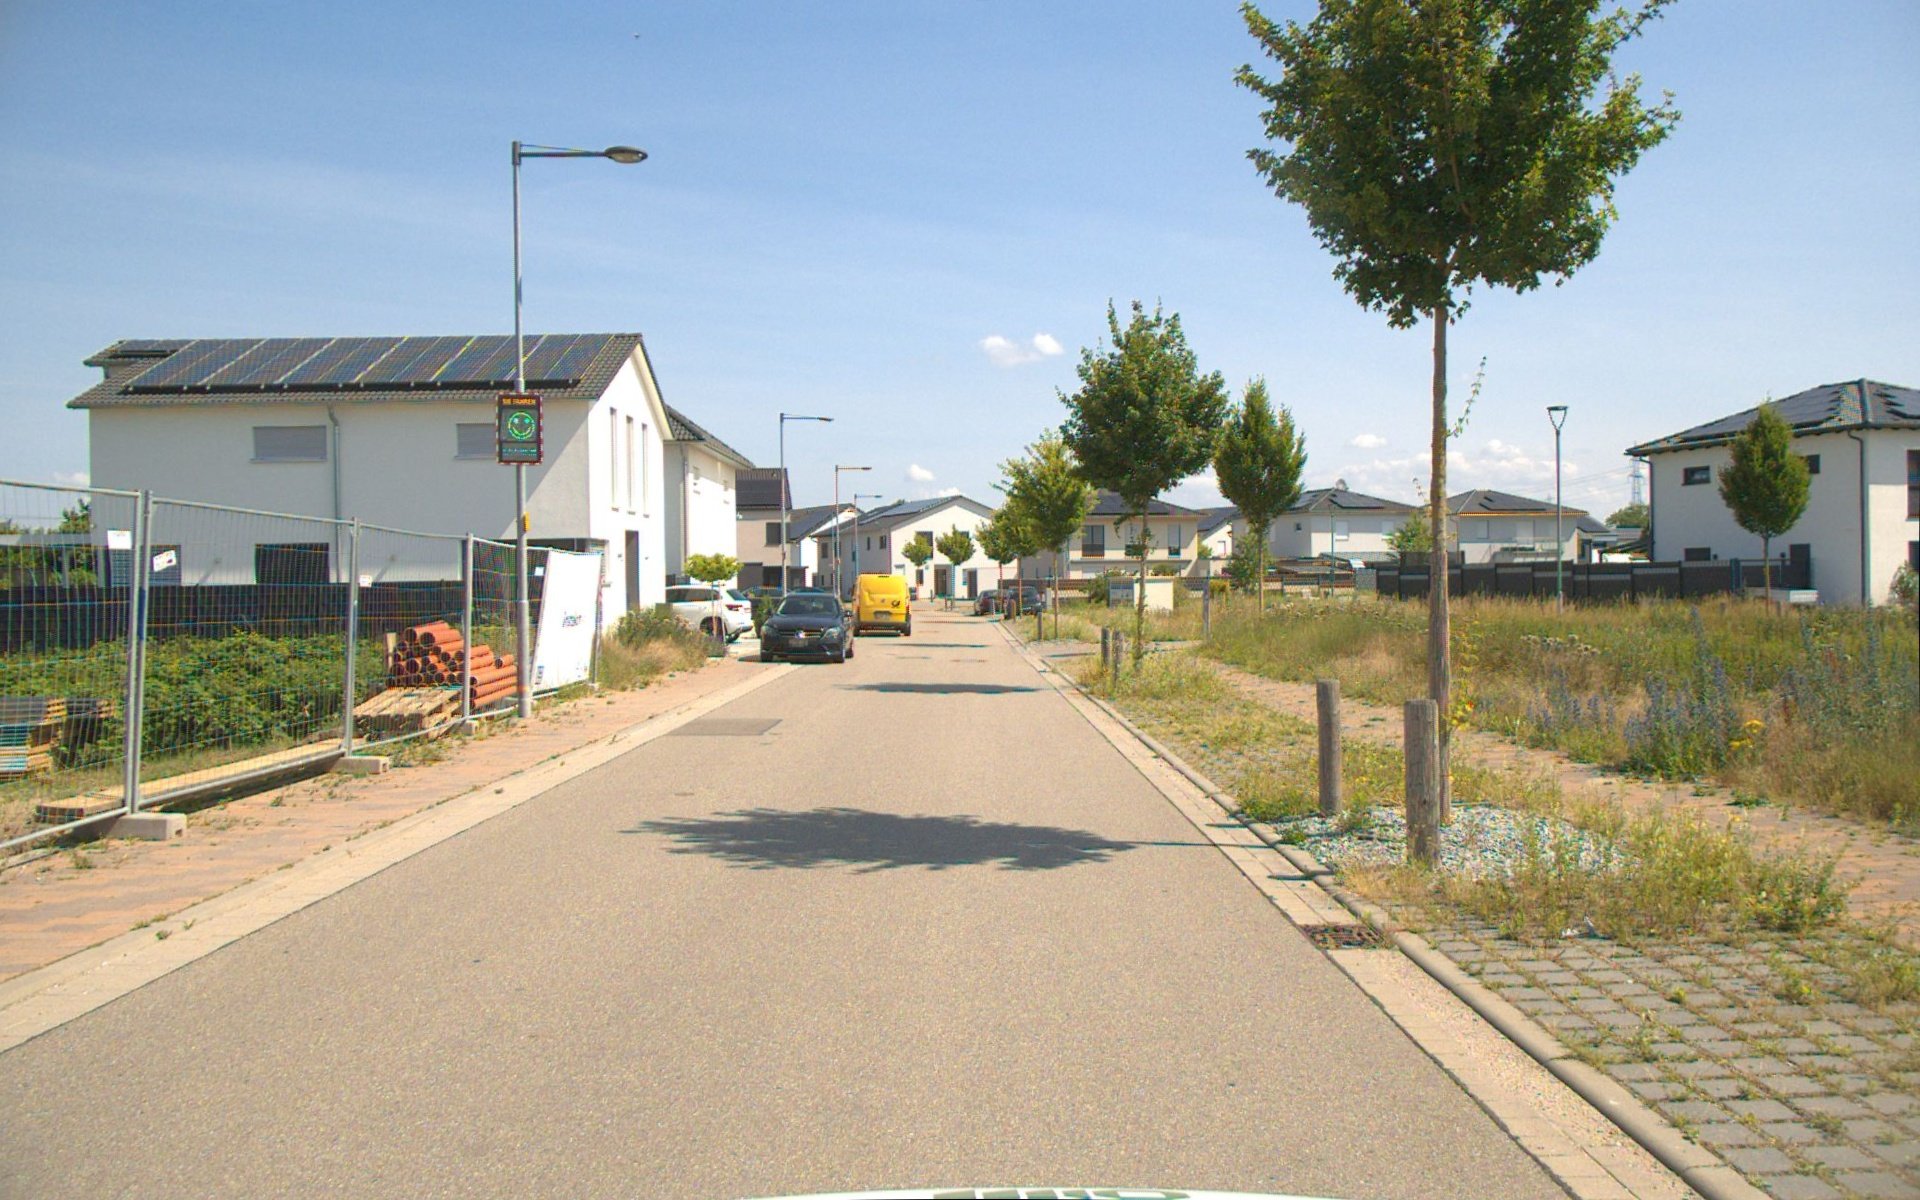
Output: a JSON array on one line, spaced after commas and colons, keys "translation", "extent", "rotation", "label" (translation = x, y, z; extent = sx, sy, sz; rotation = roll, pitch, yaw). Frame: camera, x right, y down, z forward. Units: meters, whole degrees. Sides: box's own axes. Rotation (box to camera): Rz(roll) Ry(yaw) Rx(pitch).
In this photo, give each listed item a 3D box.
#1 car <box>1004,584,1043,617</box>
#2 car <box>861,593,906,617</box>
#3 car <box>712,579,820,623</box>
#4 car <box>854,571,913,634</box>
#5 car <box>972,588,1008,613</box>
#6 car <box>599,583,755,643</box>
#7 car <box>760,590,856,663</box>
[{"translation": [2.897, 0.047, 76.289], "extent": [1.606, 1.427, 3.809], "rotation": [0, -1, -1], "label": "car"}, {"translation": [-5.024, 0.328, 108.046], "extent": [1.961, 1.456, 4.681], "rotation": [-1, 0, -15], "label": "car"}, {"translation": [-7.859, 0.040, 66.906], "extent": [4.093, 1.531, 1.808], "rotation": [3, -1, -16], "label": "car"}, {"translation": [-2.632, 0.106, 56.195], "extent": [1.903, 2.016, 4.213], "rotation": [-1, 0, -4], "label": "car"}, {"translation": [1.703, 0.046, 94.899], "extent": [1.597, 1.346, 3.827], "rotation": [-1, -2, -7], "label": "car"}, {"translation": [-7.921, 0.346, 46.530], "extent": [3.982, 1.609, 1.785], "rotation": [1, 1, 5], "label": "car"}, {"translation": [-3.248, 0.531, 36.055], "extent": [1.709, 1.429, 4.159], "rotation": [1, 1, -1], "label": "car"}]
